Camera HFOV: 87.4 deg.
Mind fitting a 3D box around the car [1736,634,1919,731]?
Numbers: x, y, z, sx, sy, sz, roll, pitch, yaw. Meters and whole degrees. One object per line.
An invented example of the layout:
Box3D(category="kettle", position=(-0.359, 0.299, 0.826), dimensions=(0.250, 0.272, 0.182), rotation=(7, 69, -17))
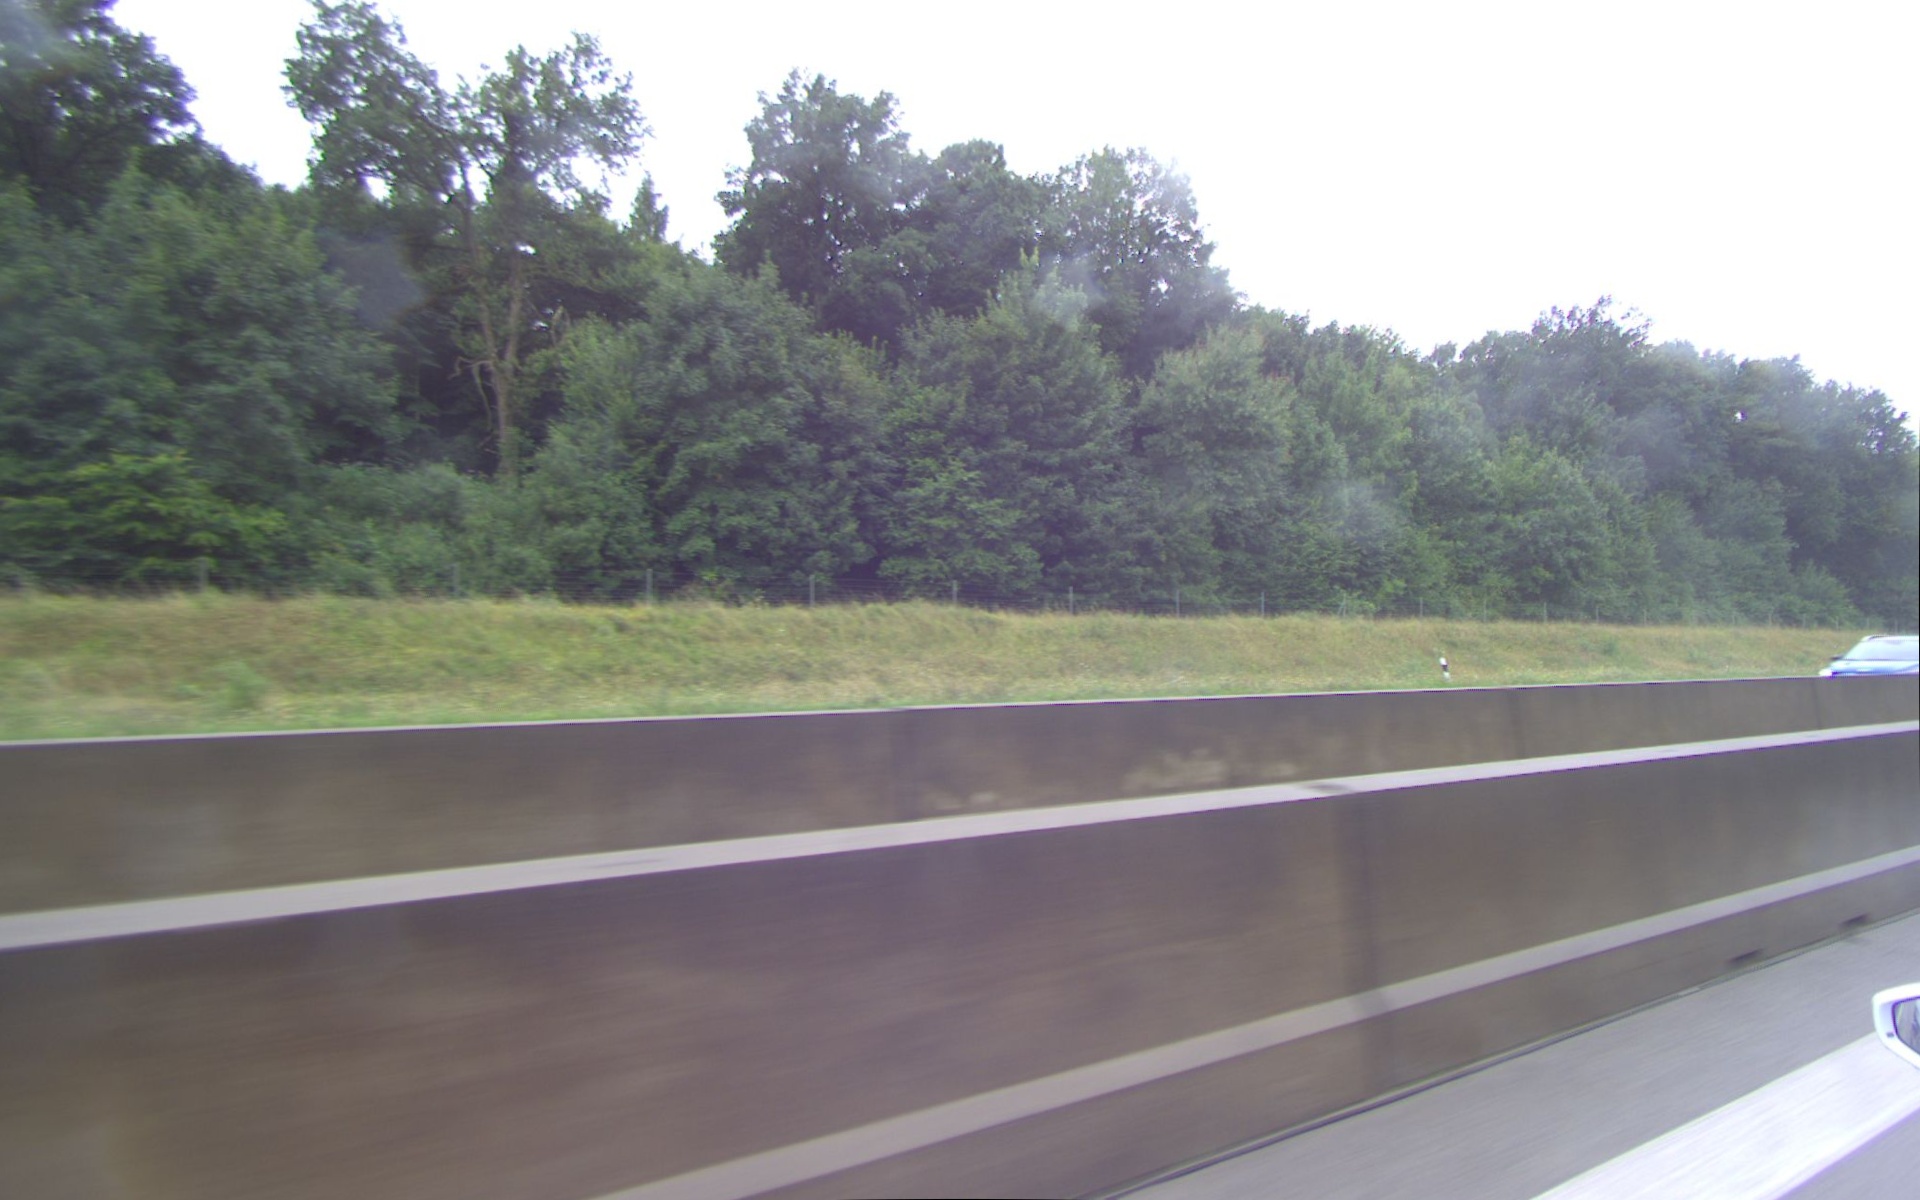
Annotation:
Box3D(category="car", position=(16.541, 1.439, 18.663), dimensions=(4.633, 1.596, 1.764), rotation=(1, -2, -30))
